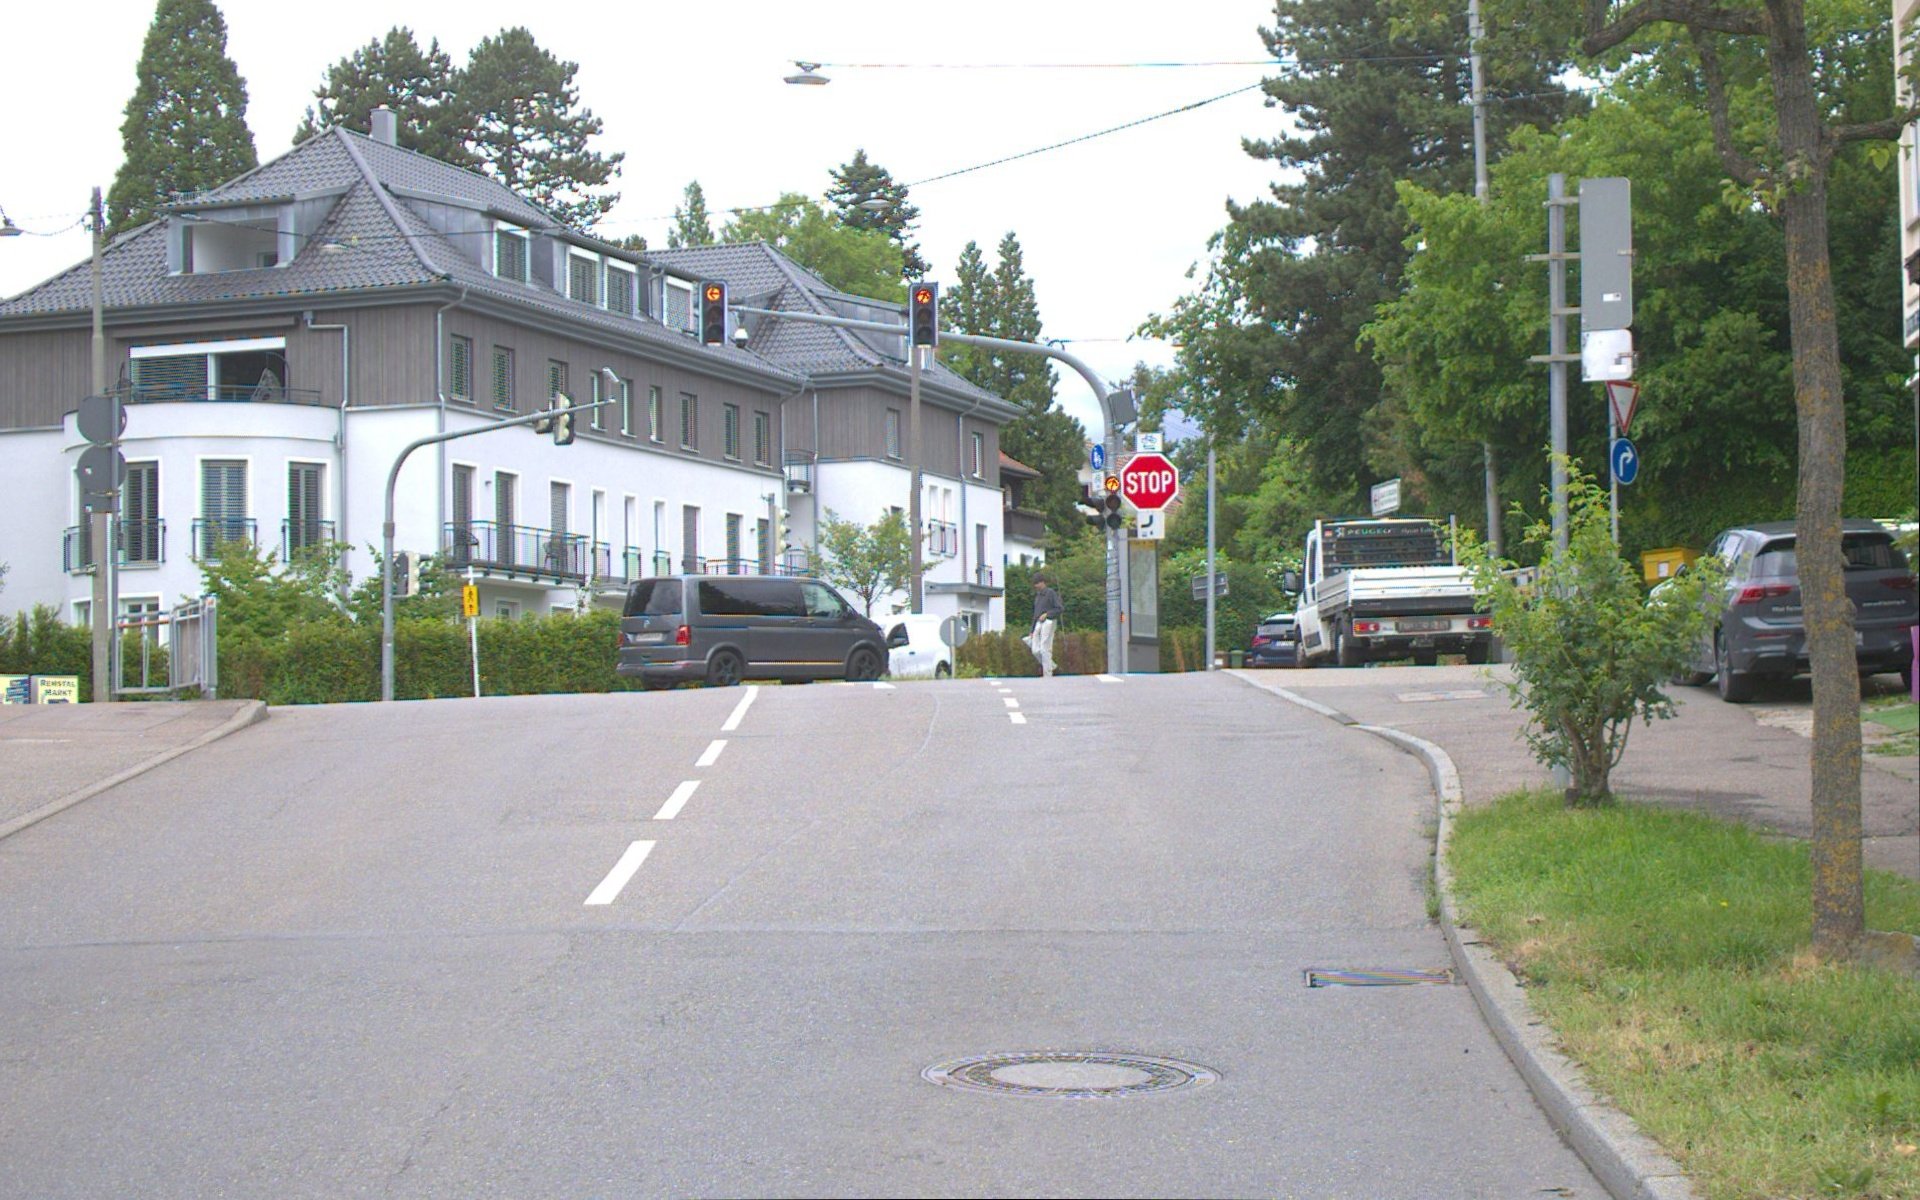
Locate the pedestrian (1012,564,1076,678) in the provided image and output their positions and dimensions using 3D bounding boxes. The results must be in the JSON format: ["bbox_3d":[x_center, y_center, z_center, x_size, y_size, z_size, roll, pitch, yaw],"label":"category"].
[{"bbox_3d":[1.252,0.312,51.332,0.698,1.676,0.686,-1,1,-23],"label":"pedestrian"}]

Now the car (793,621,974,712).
[{"bbox_3d":[-1.661,1.436,75.948,1.997,1.850,4.346,0,1,31],"label":"car"}]

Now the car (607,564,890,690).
[{"bbox_3d":[-3.462,0.472,56.945,1.999,2.007,4.497,0,-1,44],"label":"car"}]

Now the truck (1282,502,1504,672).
[{"bbox_3d":[6.130,-0.113,49.417,2.183,2.188,5.881,-1,-2,-2],"label":"truck"}]

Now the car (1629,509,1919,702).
[{"bbox_3d":[7.117,0.018,29.840,1.848,1.467,4.385,-3,0,2],"label":"car"}]

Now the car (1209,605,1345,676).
[{"bbox_3d":[7.508,0.934,80.992,2.156,1.486,4.708,-1,1,18],"label":"car"}]

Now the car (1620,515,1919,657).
[{"bbox_3d":[10.498,-0.148,42.620,4.244,1.588,1.986,-1,-3,21],"label":"car"}]
